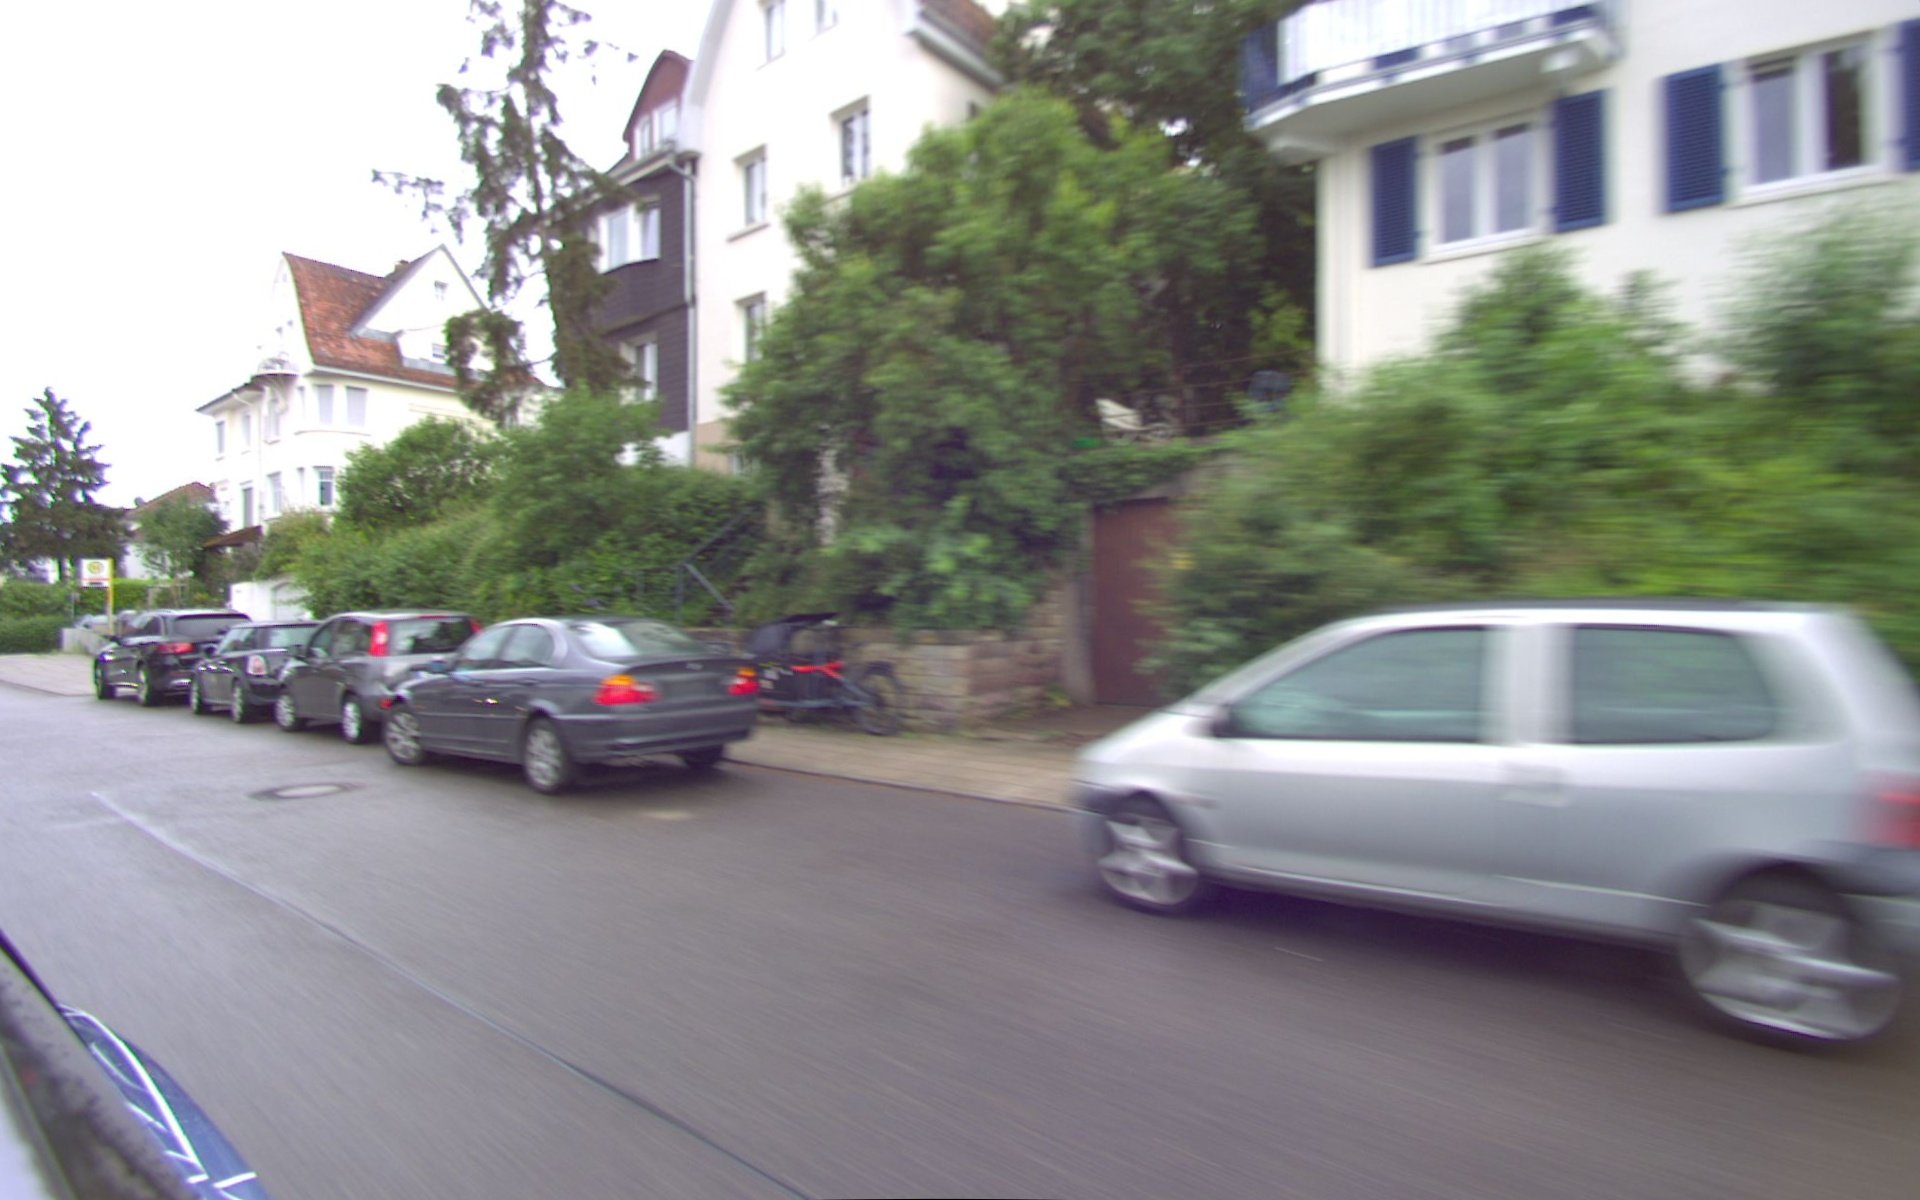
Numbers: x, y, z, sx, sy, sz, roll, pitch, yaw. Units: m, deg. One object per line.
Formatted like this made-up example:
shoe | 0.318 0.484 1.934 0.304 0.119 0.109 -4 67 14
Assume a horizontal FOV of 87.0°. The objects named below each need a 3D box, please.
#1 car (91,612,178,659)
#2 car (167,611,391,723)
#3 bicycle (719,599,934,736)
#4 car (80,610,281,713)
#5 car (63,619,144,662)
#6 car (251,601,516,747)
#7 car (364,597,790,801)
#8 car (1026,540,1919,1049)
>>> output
car | -33.193 1.456 40.662 3.992 1.709 1.750 -4 -2 36
car | -10.506 0.999 15.529 3.811 1.458 1.874 -4 -2 40
bicycle | -1.478 0.706 10.901 2.289 1.311 0.994 -4 -2 41
car | -14.333 1.053 18.533 4.372 1.634 1.875 -2 0 38
car | -36.580 1.735 43.201 3.992 1.630 1.750 -4 -2 36
car | -7.371 0.839 12.797 3.810 1.553 1.680 -2 0 40
car | -3.716 0.816 9.394 4.412 1.458 1.738 -4 -2 40
car | 2.251 0.614 4.382 3.624 1.458 1.630 -4 -2 40
